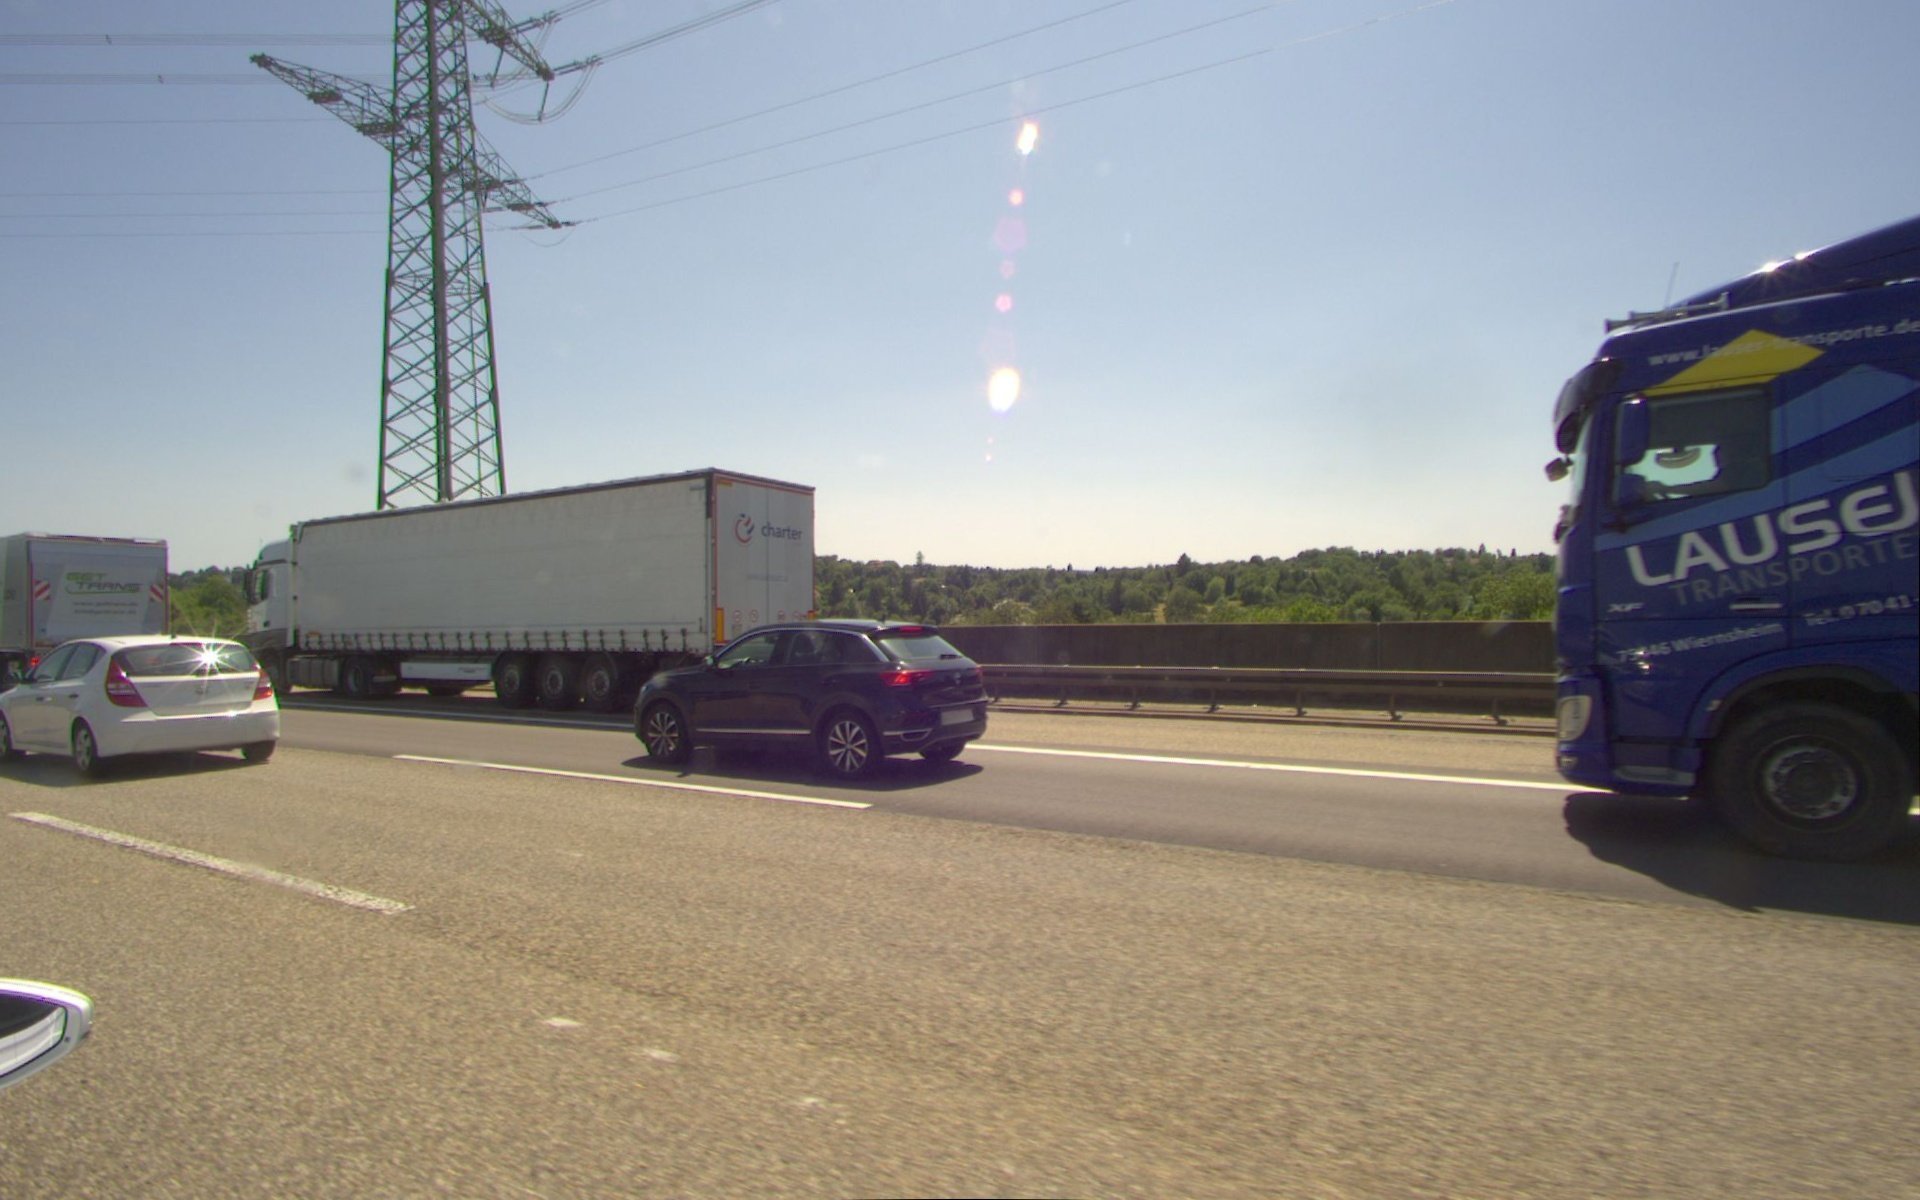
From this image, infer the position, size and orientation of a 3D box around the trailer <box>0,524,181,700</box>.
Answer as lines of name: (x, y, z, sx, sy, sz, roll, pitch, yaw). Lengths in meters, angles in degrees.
trailer: (-22.415, 0.337, 24.535, 7.899, 3.748, 2.693, -1, -1, 32)

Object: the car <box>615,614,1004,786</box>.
car: (-1.704, 0.968, 10.859, 4.048, 1.546, 1.733, -1, -2, 32)

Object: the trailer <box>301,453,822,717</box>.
trailer: (-8.811, -0.076, 20.616, 13.233, 4.194, 2.710, -1, -2, 32)

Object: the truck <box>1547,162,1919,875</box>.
truck: (8.991, -0.503, 5.098, 10.298, 4.118, 2.518, -1, -2, 32)

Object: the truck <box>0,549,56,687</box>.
truck: (-30.379, 0.566, 29.504, 10.851, 3.695, 2.652, -1, -1, 32)

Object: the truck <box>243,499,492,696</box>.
truck: (-14.299, 0.064, 24.081, 6.071, 4.194, 2.688, -1, -2, 32)

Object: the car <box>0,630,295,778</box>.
car: (-10.001, 1.114, 12.030, 4.231, 1.474, 1.785, -1, -1, 32)
